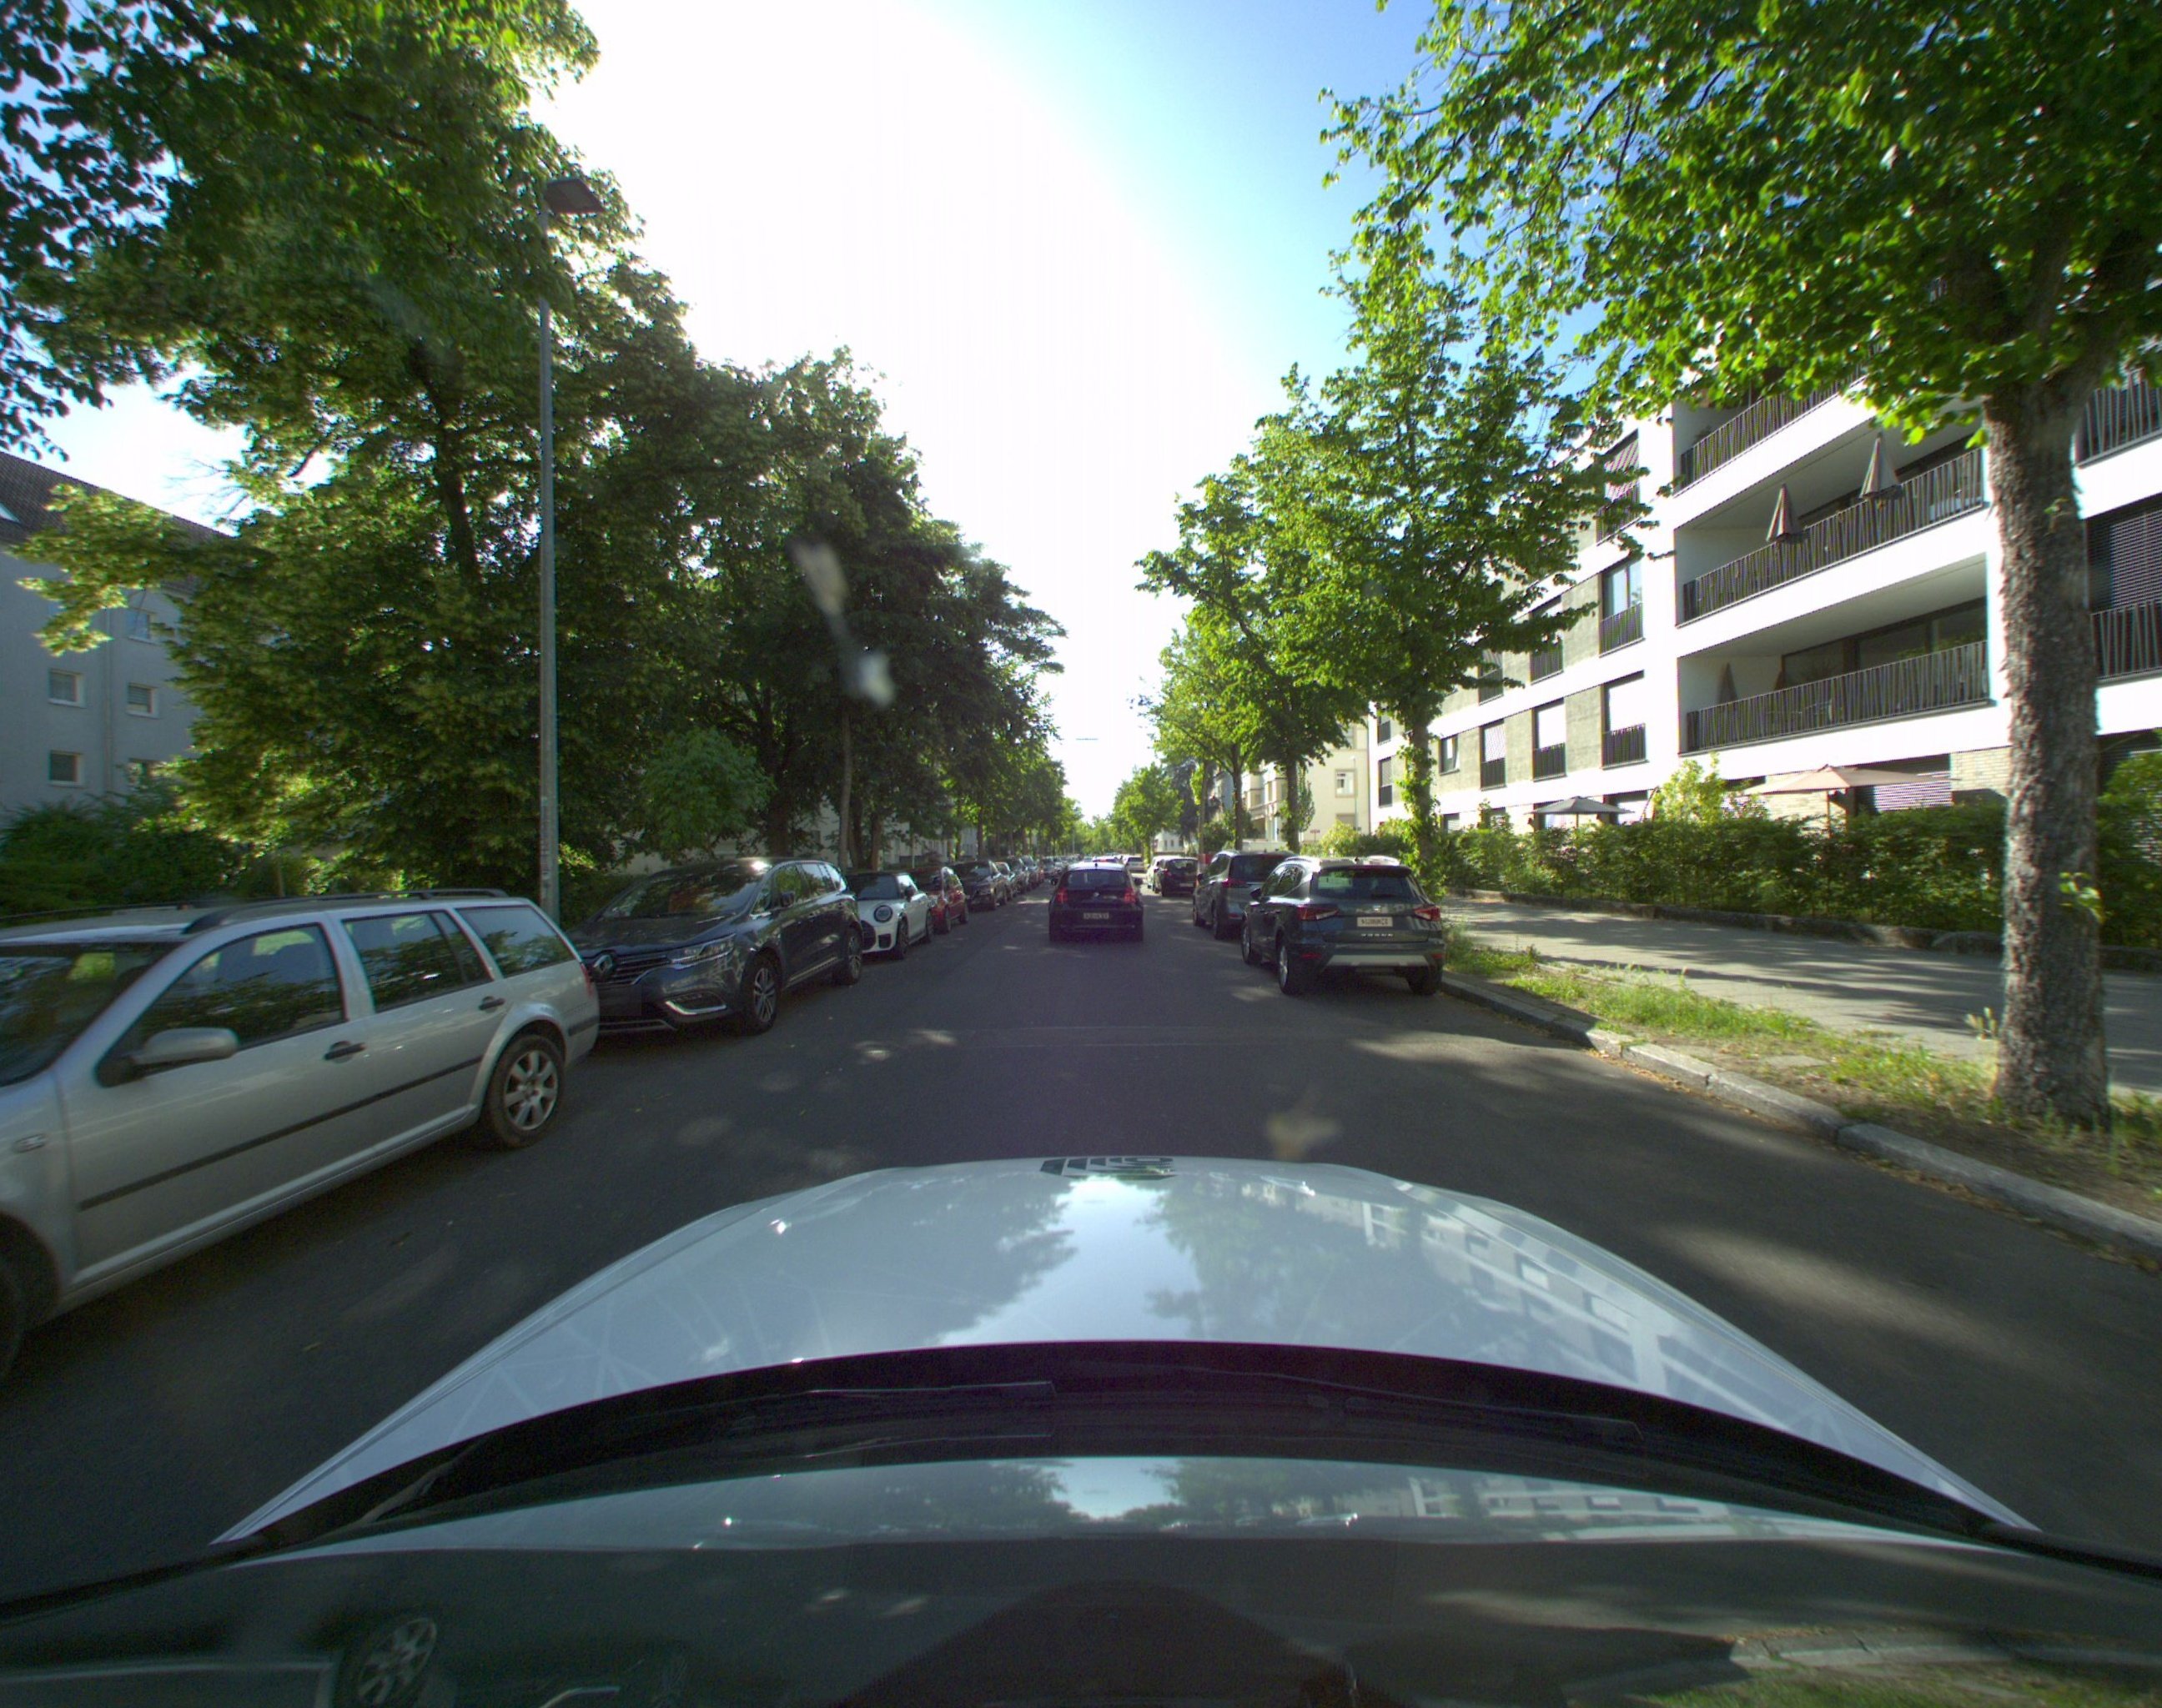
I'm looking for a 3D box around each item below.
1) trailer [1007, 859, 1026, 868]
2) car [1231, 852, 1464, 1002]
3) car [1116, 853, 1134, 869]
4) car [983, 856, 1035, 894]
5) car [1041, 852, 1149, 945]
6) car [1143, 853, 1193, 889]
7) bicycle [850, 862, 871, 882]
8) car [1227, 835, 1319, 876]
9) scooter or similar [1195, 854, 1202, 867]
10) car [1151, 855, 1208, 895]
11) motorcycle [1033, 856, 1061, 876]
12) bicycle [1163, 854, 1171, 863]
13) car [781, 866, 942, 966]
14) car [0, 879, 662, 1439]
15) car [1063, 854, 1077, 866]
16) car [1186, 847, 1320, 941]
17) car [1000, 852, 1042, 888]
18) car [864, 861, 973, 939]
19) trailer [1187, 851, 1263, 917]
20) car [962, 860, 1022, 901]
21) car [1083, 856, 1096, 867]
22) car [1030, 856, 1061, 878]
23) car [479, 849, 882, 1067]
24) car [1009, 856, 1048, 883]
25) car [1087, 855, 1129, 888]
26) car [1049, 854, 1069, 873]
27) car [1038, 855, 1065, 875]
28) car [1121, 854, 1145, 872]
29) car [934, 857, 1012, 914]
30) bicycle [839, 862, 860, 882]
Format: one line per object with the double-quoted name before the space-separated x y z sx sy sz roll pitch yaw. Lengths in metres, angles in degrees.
"trailer" -7.434 1.088 94.051 1.781 1.034 3.284 -1 0 3
"car" 3.132 0.747 10.527 1.711 1.516 4.346 -1 0 2
"car" 4.955 0.771 92.357 1.918 1.651 5.098 1 0 3
"car" -3.182 0.889 36.746 1.762 1.531 4.421 -1 0 2
"car" 0.234 0.763 15.895 1.777 1.523 3.999 -2 0 0
"car" 3.823 0.734 36.345 1.727 1.487 4.008 -1 0 -1
"bicycle" -13.661 1.098 50.554 0.683 1.201 1.913 -2 0 3
"car" 11.619 0.087 49.315 5.061 2.306 2.218 -2 0 -23
"scooter or similar" 10.544 0.588 73.137 0.398 1.185 1.211 -2 0 16
"car" 3.771 0.780 31.774 1.665 1.450 4.178 1 0 0
"motorcycle" -2.667 0.962 63.565 0.994 1.503 2.208 -2 0 -39
"bicycle" 11.575 0.579 109.526 0.836 1.257 2.229 -1 0 -3
"car" -3.650 0.956 14.289 1.649 1.373 4.188 -2 0 0
"car" -3.938 0.951 3.708 1.701 1.480 4.488 -2 0 0
"car" -1.525 0.860 111.999 1.805 1.596 4.233 -2 0 1
"car" 3.328 0.704 16.704 1.786 1.643 4.819 1 0 1
"car" -3.027 0.800 41.983 1.762 1.688 4.813 -2 0 0
"car" -3.612 0.958 18.764 1.649 1.505 4.068 -2 0 0
"trailer" 3.719 0.737 21.468 1.568 1.579 3.194 1 0 3
"car" -3.353 0.958 31.317 1.779 1.352 4.480 -2 0 0
"car" 1.230 1.128 121.700 1.803 1.445 4.365 -3 0 0
"car" -2.575 0.908 59.615 2.036 1.524 4.605 -2 0 0
"car" -3.805 0.825 9.012 1.835 1.656 5.087 -2 0 1
"car" -3.060 0.907 48.243 1.849 1.469 4.183 -2 0 1
"car" 1.285 0.867 40.516 1.890 1.524 4.965 -1 -1 0
"car" -2.086 0.893 79.292 1.723 1.618 4.365 -5 0 0
"car" -2.444 0.860 67.542 2.059 1.524 4.718 -2 0 -2
"car" 4.537 0.771 72.059 1.816 1.469 4.908 0 0 0
"car" -3.365 0.929 26.103 1.699 1.577 4.483 -2 0 2
"bicycle" -14.366 1.106 50.577 0.683 1.201 1.913 -2 0 3
